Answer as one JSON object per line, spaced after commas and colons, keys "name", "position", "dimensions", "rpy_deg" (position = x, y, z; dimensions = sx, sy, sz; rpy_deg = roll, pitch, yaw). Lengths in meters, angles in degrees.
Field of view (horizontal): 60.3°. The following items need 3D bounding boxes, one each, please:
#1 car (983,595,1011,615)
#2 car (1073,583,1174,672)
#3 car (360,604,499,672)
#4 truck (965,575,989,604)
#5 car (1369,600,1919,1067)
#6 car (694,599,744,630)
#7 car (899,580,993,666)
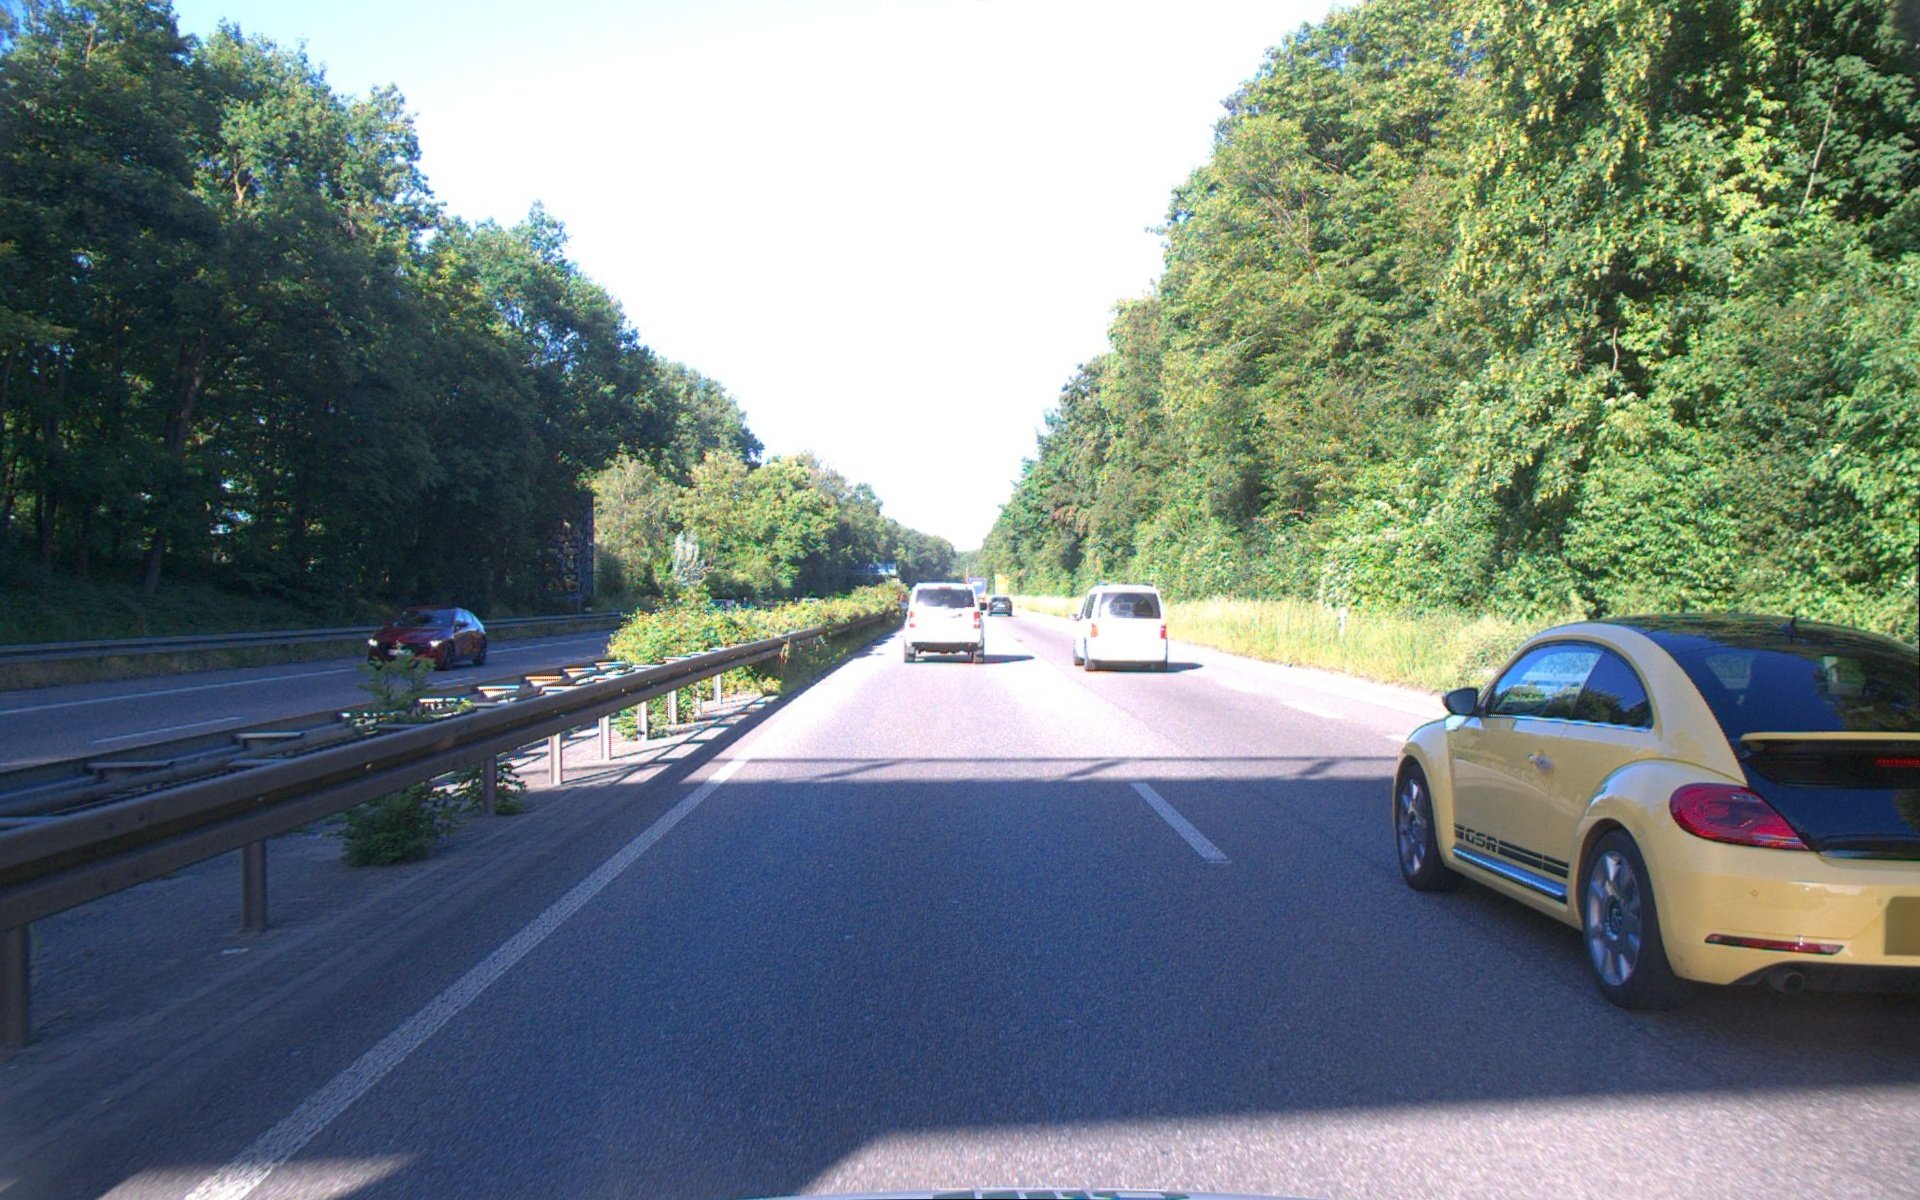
{"name": "car", "position": [2.747, 0.343, 123.931], "dimensions": [1.953, 1.422, 4.000], "rpy_deg": [0, 0, -1]}
{"name": "car", "position": [3.486, 0.546, 35.925], "dimensions": [1.825, 1.801, 4.470], "rpy_deg": [1, 0, 1]}
{"name": "car", "position": [-12.536, 0.852, 39.395], "dimensions": [1.921, 1.475, 4.582], "rpy_deg": [1, 0, -2]}
{"name": "truck", "position": [2.515, -1.560, 244.180], "dimensions": [3.424, 4.246, 8.860], "rpy_deg": [0, 0, 0]}
{"name": "car", "position": [3.394, 0.764, 7.566], "dimensions": [1.841, 1.487, 4.354], "rpy_deg": [0, 0, -2]}
{"name": "car", "position": [-11.898, 0.686, 81.852], "dimensions": [1.921, 1.475, 4.325], "rpy_deg": [1, 0, -2]}
{"name": "car", "position": [-0.382, 0.499, 38.186], "dimensions": [2.043, 1.860, 3.998], "rpy_deg": [0, 0, -2]}
